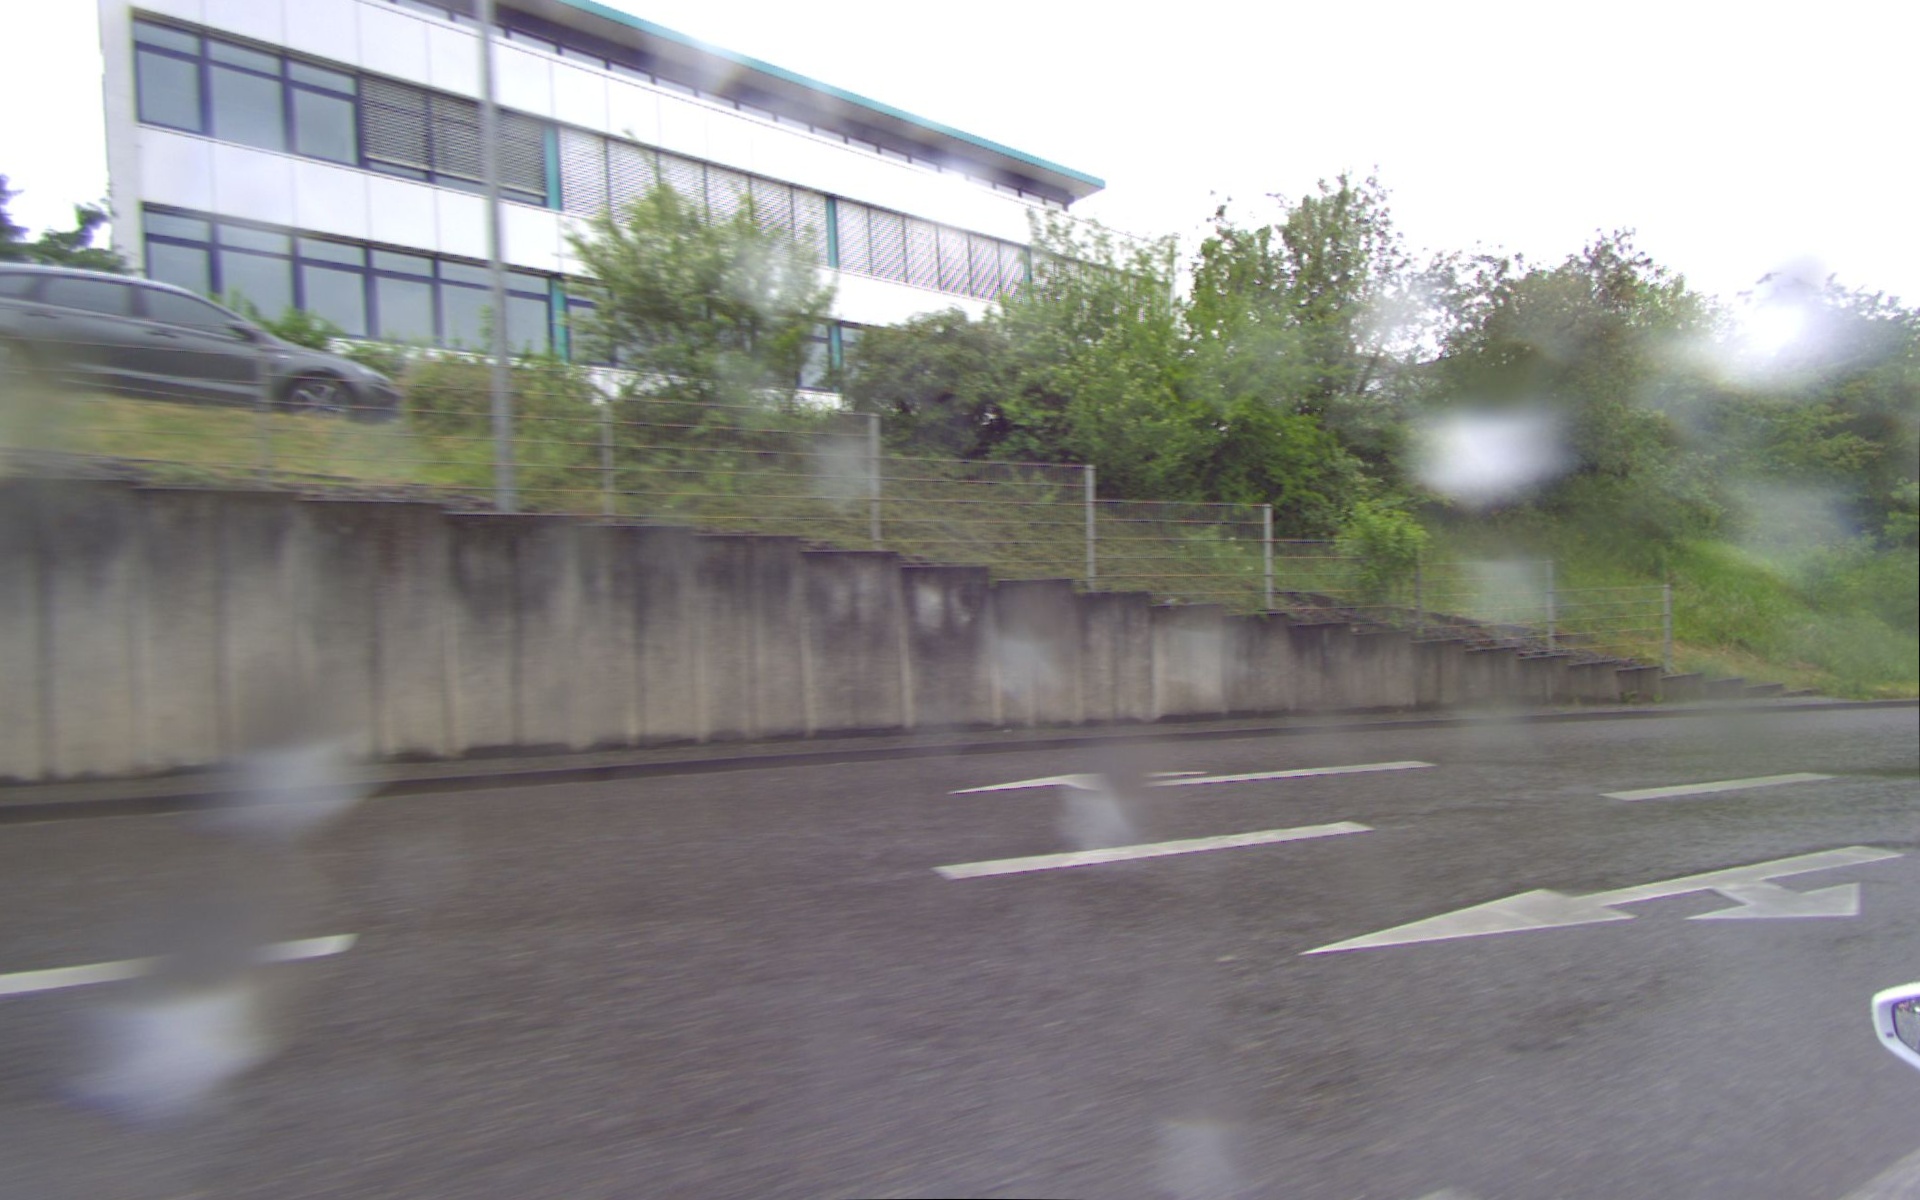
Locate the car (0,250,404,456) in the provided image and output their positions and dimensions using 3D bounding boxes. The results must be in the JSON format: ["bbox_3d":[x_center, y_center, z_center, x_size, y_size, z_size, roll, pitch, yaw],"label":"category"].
[{"bbox_3d":[-8.684,-2.607,10.943,4.484,1.360,1.902,2,-1,-33],"label":"car"}]
